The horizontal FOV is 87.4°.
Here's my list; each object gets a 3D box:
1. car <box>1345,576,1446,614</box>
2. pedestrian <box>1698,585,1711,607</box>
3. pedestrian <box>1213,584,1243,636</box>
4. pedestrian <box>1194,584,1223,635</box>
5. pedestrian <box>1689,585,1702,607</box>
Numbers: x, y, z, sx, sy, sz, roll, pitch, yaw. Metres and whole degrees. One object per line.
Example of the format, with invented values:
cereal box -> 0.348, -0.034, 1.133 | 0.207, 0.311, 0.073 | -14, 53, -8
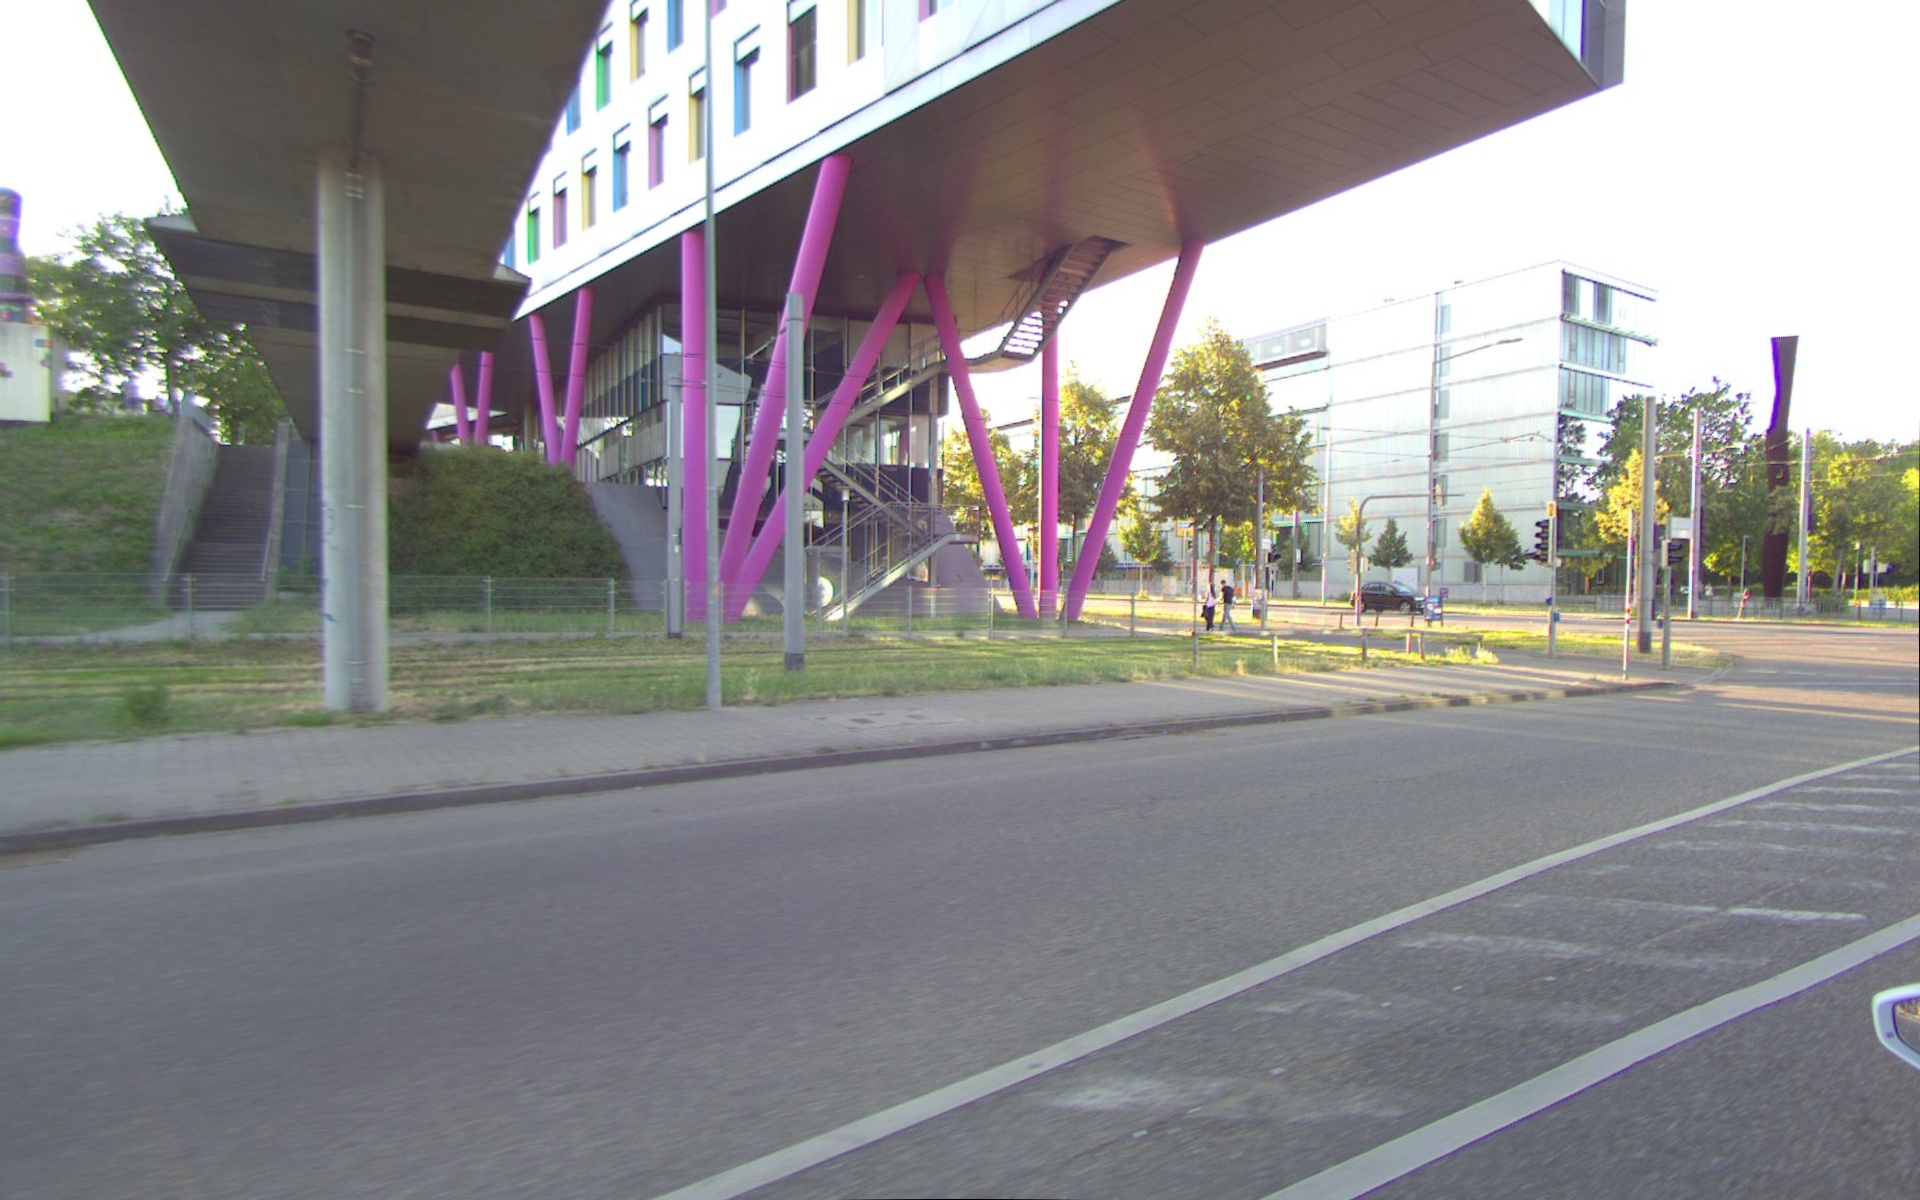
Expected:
car -> 22.251, -0.301, 51.484 | 1.923, 1.841, 4.444 | -2, 2, -31
pedestrian -> 67.917, -0.380, 91.622 | 0.686, 2.041, 0.696 | -1, 2, -10
pedestrian -> 8.869, 0.317, 33.250 | 0.699, 1.686, 0.700 | -1, 2, -13
pedestrian -> 8.159, 0.291, 33.048 | 0.699, 1.646, 0.686 | -1, 2, -13
pedestrian -> 66.953, -0.366, 91.454 | 0.686, 2.041, 0.696 | -1, 2, -10
